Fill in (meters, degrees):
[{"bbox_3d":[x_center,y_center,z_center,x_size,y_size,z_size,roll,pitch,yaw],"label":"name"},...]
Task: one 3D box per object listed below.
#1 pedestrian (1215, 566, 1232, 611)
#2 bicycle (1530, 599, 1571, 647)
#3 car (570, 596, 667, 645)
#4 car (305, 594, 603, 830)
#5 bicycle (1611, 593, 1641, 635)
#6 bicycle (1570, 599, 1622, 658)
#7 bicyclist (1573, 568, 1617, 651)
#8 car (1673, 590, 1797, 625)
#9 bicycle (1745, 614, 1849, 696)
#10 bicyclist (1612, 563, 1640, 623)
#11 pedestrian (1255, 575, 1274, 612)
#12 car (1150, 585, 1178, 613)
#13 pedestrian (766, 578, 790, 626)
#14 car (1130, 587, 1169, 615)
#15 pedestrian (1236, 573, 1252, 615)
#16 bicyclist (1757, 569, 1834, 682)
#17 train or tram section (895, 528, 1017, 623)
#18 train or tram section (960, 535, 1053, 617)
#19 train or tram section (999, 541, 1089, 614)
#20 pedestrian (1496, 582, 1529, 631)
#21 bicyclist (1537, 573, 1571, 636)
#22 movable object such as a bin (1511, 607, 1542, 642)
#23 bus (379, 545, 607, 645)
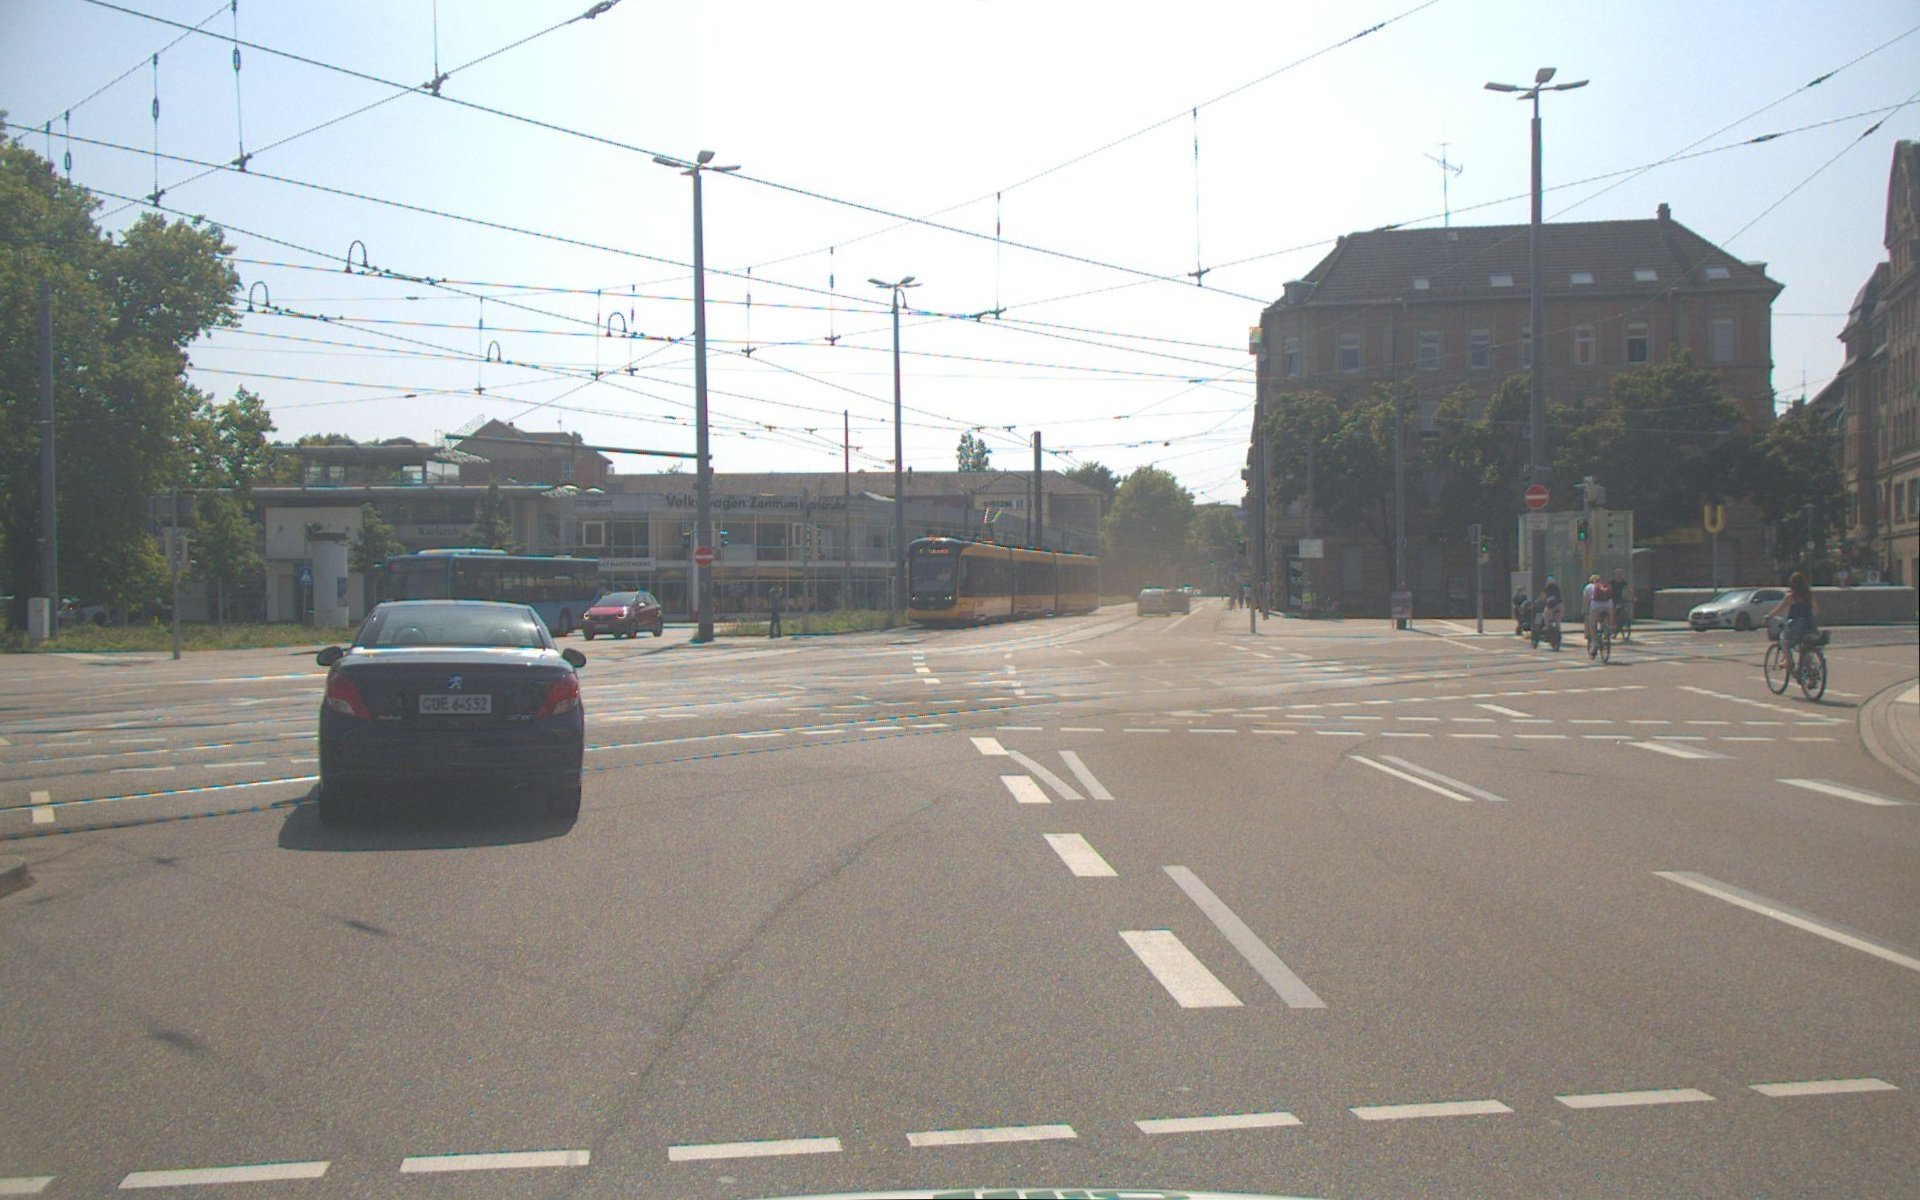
[{"bbox_3d":[17.864,-0.781,112.274,0.963,3.070,0.975,-1,0,0],"label":"pedestrian"},{"bbox_3d":[13.557,0.514,37.997,0.525,1.073,1.655,-1,0,7],"label":"bicycle"},{"bbox_3d":[-11.489,0.669,55.926,1.712,1.579,4.003,-1,0,13],"label":"car"},{"bbox_3d":[-3.533,0.678,12.008,1.735,1.412,3.768,1,0,-14],"label":"car"},{"bbox_3d":[17.456,0.369,43.386,0.459,1.073,1.655,-1,0,13],"label":"bicycle"},{"bbox_3d":[12.068,0.521,31.434,0.525,1.073,1.655,-1,0,7],"label":"bicycle"},{"bbox_3d":[12.010,0.178,31.293,0.614,1.544,0.712,-1,0,7],"label":"bicyclist"},{"bbox_3d":[26.384,0.251,56.310,3.946,1.109,1.979,-1,0,-31],"label":"car"},{"bbox_3d":[11.584,0.740,22.952,0.482,1.073,1.822,-1,0,-1],"label":"bicycle"},{"bbox_3d":[17.481,-0.189,43.410,0.598,1.555,0.522,-1,0,13],"label":"bicyclist"},{"bbox_3d":[13.537,-0.270,73.520,0.687,1.631,0.571,-1,0,-13],"label":"pedestrian"},{"bbox_3d":[12.102,-0.058,98.350,1.602,1.646,4.003,-1,0,7],"label":"car"},{"bbox_3d":[-5.718,0.062,51.876,0.667,1.468,0.363,-1,0,-23],"label":"pedestrian"},{"bbox_3d":[10.257,0.046,89.322,1.732,1.440,4.193,-1,0,11],"label":"car"},{"bbox_3d":[20.770,-0.434,120.892,0.963,3.070,0.975,-1,0,2],"label":"pedestrian"},{"bbox_3d":[11.596,0.345,22.968,0.719,1.544,0.663,-1,0,-1],"label":"bicyclist"},{"bbox_3d":[0.033,-0.954,67.822,2.533,3.578,10.907,-1,0,13],"label":"train or tram section"},{"bbox_3d":[2.310,-1.073,77.762,2.533,3.578,9.667,-1,0,12],"label":"train or tram section"},{"bbox_3d":[4.653,-1.138,88.350,2.533,3.578,12.983,-1,0,13],"label":"train or tram section"},{"bbox_3d":[17.920,0.205,53.663,0.525,1.572,0.839,-1,0,-44],"label":"pedestrian"},{"bbox_3d":[13.503,0.102,37.615,0.519,1.417,0.894,-1,0,7],"label":"bicyclist"},{"bbox_3d":[18.097,0.767,52.804,0.800,1.096,0.509,-1,0,41],"label":"movable object such as a bin"},{"bbox_3d":[-16.183,-0.188,58.701,2.507,3.136,12.034,-1,0,11],"label":"bus"}]
